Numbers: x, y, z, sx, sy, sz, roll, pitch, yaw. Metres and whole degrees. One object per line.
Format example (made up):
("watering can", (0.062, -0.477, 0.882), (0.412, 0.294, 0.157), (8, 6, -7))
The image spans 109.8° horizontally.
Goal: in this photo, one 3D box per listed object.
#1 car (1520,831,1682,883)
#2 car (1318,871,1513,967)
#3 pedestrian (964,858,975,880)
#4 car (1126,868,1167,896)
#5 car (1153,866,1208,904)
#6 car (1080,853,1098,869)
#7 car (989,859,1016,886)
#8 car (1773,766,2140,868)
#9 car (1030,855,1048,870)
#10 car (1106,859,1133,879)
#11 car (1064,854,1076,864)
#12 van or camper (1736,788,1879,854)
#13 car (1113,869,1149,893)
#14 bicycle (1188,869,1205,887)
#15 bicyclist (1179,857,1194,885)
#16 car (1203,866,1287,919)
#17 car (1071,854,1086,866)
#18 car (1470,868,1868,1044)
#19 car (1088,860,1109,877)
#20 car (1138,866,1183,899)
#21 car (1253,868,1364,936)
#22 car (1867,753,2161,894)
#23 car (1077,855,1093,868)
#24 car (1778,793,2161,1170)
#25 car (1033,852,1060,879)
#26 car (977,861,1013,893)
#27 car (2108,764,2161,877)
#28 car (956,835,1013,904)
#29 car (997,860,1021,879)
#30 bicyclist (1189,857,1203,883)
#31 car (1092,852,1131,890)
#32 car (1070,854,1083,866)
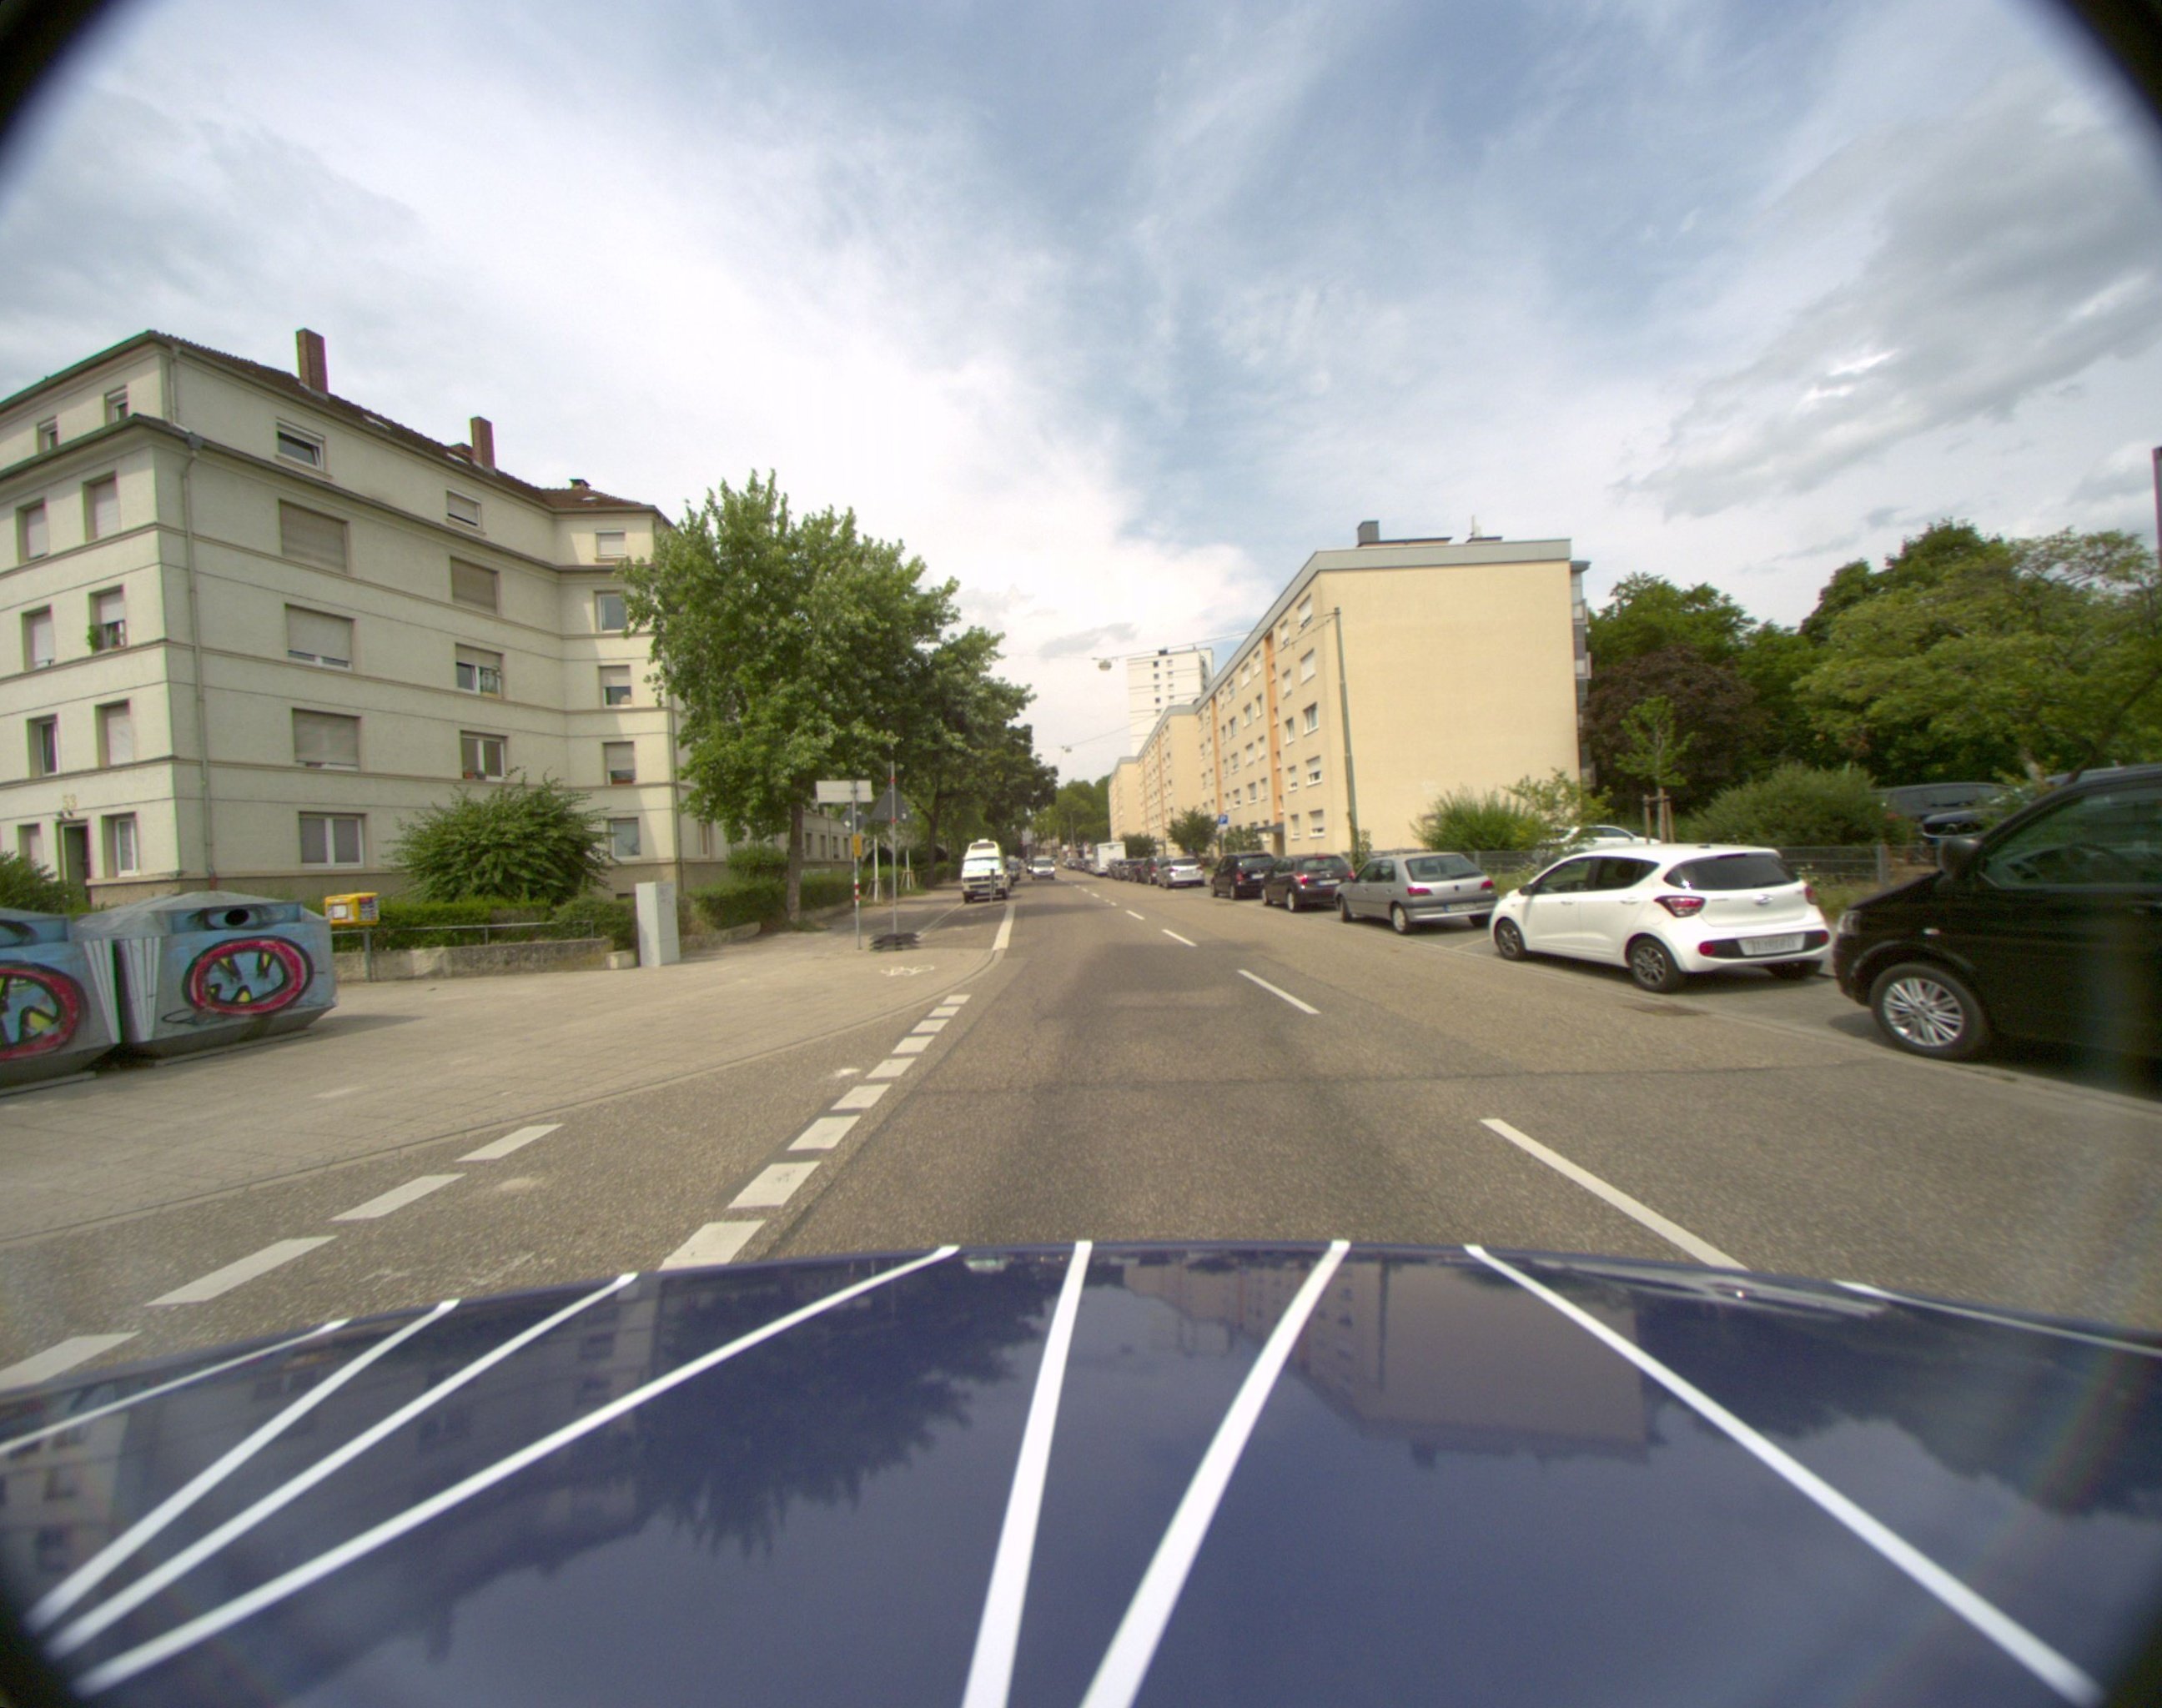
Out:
("car", (17.371, 0.084, 25.555), (3.995, 1.474, 2.000), (-3, 1, 5))
("car", (6.282, 1.135, 14.872), (1.692, 1.448, 4.262), (-4, 0, -3))
("pedestrian", (-9.081, 1.223, 61.953), (0.808, 1.793, 0.763), (-2, 1, -4))
("car", (4.062, 1.727, 47.575), (1.682, 1.495, 4.262), (-4, 0, -6))
("car", (4.763, 1.463, 37.023), (1.791, 1.554, 4.550), (-5, 0, -2))
("car", (0.918, 0.806, 90.443), (1.724, 1.787, 3.893), (-2, 0, -4))
("car", (-5.264, 1.235, 51.340), (1.677, 1.666, 4.269), (-2, 0, -5))
("car", (17.893, -0.709, 15.756), (5.098, 1.663, 2.001), (-3, 0, 2))
("car", (-4.859, 0.959, 88.490), (1.999, 1.656, 3.998), (-2, 0, -4))
("car", (2.999, 1.140, 59.795), (1.617, 1.475, 4.056), (-2, 0, -5))
("car", (-1.880, 0.834, 129.259), (1.806, 1.624, 3.894), (-3, -1, -4))
("van or camper", (34.066, -1.461, 35.866), (1.998, 2.856, 4.901), (-2, 0, 0))
("car", (3.474, 1.893, 54.011), (1.723, 1.498, 4.623), (-3, 0, -6))
("bicycle", (7.288, 1.492, 48.046), (0.625, 0.996, 2.081), (-5, 1, -3))
("bicyclist", (6.258, 1.004, 44.950), (0.616, 1.598, 0.765), (-5, 1, -3))
("car", (5.566, 1.256, 26.270), (1.627, 1.565, 3.998), (-3, 0, -5))
("car", (-0.332, 0.870, 108.300), (1.806, 1.625, 3.893), (-2, 0, -4))
("car", (6.614, 1.006, 9.166), (1.658, 1.520, 3.764), (-4, 0, -3))
("car", (1.781, 1.498, 78.463), (1.853, 1.623, 4.216), (-2, 0, -4))
("car", (4.426, 1.572, 42.795), (1.722, 1.615, 3.837), (-3, 0, -5))
("car", (6.047, 1.217, 20.697), (1.691, 1.462, 4.048), (-4, 0, -1))
("car", (17.426, -0.535, 13.185), (5.097, 2.137, 2.229), (-3, 0, 2))
("car", (0.515, 0.910, 95.789), (1.731, 1.608, 3.893), (-2, 0, -4))
("car", (6.733, 0.632, 3.743), (1.954, 1.992, 4.843), (-5, 0, -2))
("car", (-2.808, 0.889, 61.403), (1.999, 2.002, 3.998), (-2, 1, -4))
("car", (-4.603, 1.198, 41.109), (1.677, 1.442, 4.642), (-5, 0, -5))
("car", (17.729, -0.607, 10.326), (4.708, 1.608, 2.001), (-3, 0, 1))
("car", (-4.059, 0.594, 32.813), (1.900, 2.587, 4.903), (-6, 1, -4))
("car", (-5.802, 1.253, 61.382), (1.676, 1.392, 3.784), (-2, 0, -2))
("bicyclist", (7.247, 0.990, 48.092), (0.616, 1.598, 0.765), (-5, 1, -3))
("car", (2.566, 1.417, 66.435), (2.622, 3.040, 7.112), (-2, 0, -4))
("car", (-0.694, 0.848, 113.271), (1.806, 1.625, 3.893), (-2, 0, -4))
